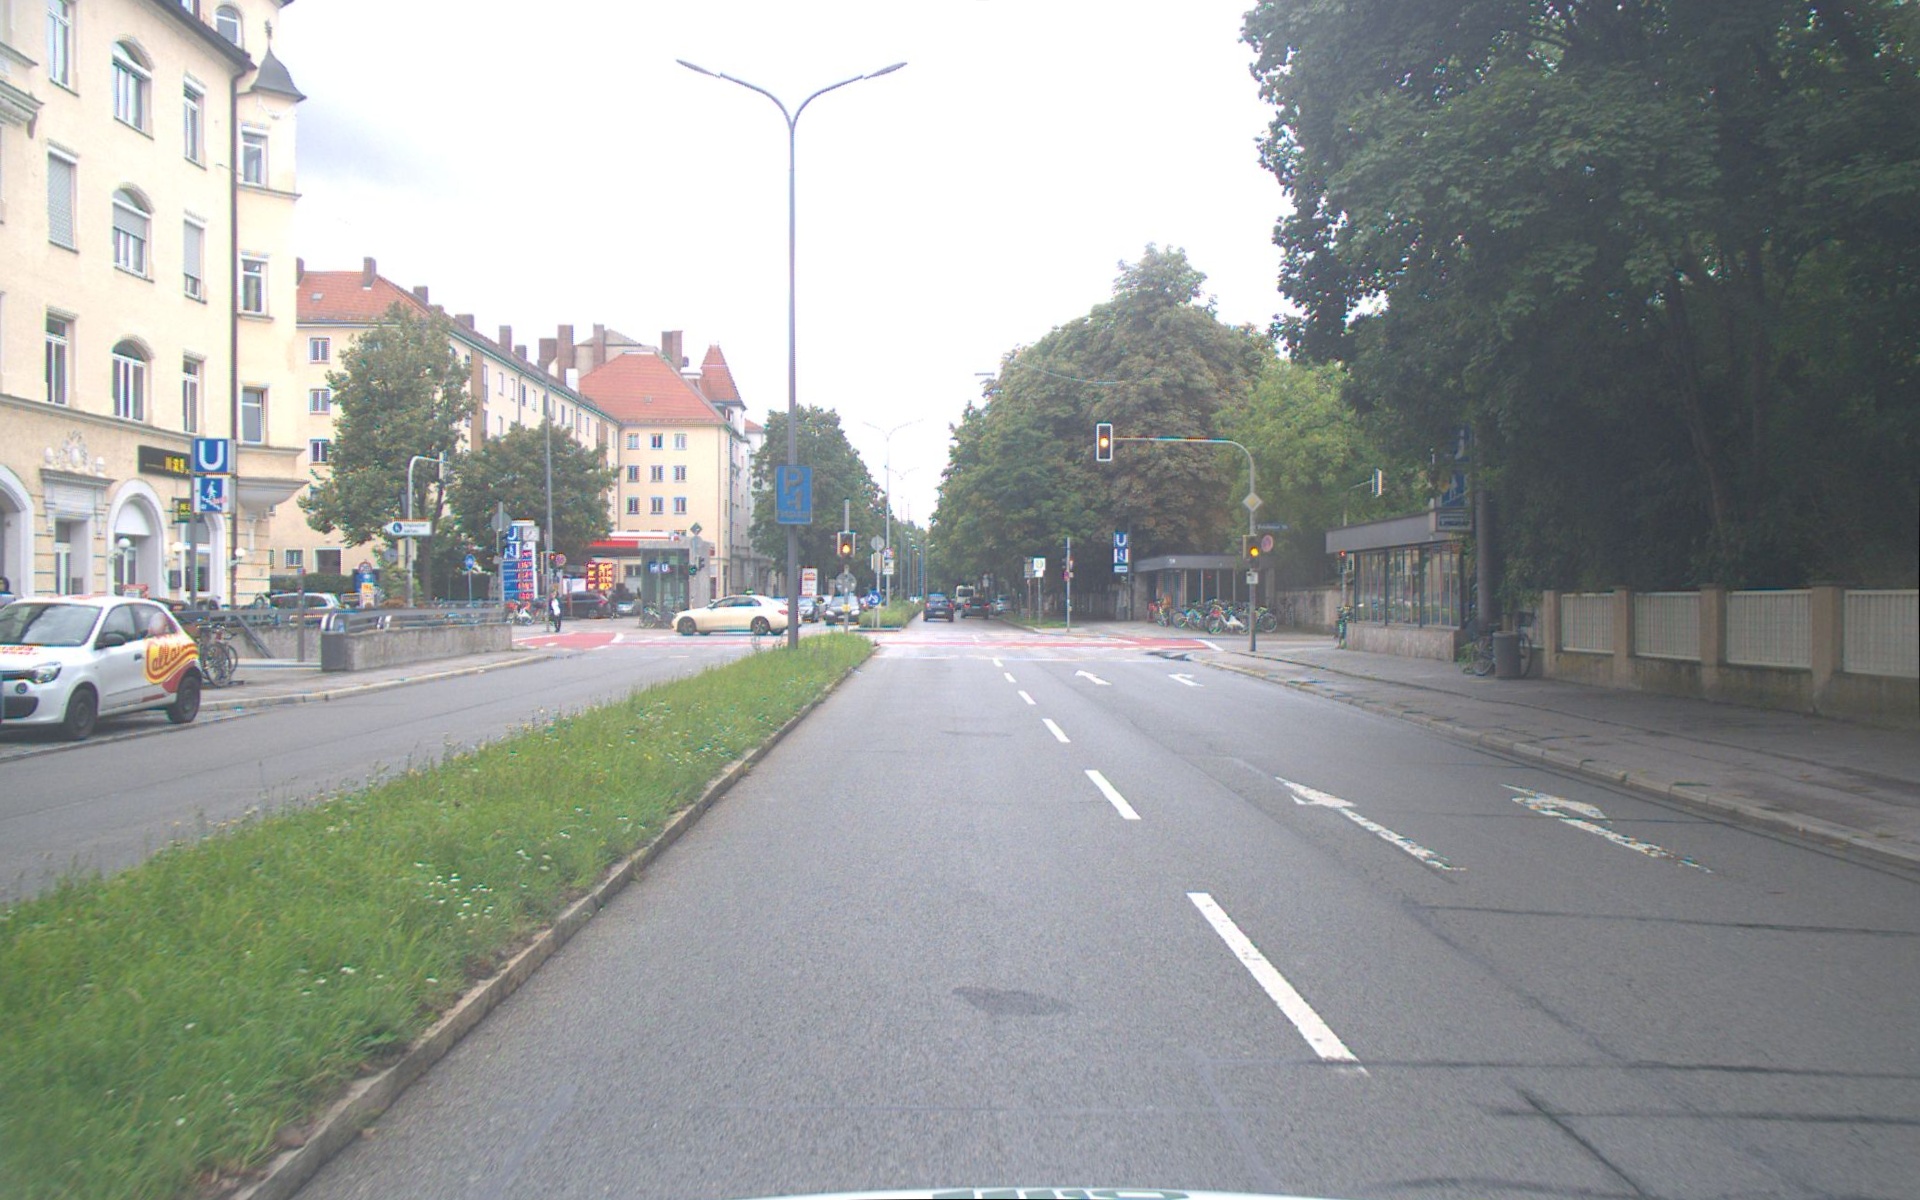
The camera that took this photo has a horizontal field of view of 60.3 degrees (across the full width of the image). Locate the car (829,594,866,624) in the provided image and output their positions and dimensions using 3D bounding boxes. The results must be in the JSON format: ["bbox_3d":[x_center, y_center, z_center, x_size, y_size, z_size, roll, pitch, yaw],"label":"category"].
[{"bbox_3d":[-5.872,0.440,86.411,1.724,1.519,3.999,0,0,-1],"label":"car"}]

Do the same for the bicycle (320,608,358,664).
[{"bbox_3d":[-13.104,0.748,34.925,0.388,1.135,1.810,0,0,-9],"label":"bicycle"}]

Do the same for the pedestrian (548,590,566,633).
[{"bbox_3d":[-16.224,0.450,66.527,0.522,1.725,0.577,0,0,8],"label":"pedestrian"}]

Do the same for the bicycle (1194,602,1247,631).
[{"bbox_3d":[10.486,0.660,66.566,2.097,1.120,0.603,0,0,7],"label":"bicycle"}]

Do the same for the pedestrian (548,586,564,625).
[{"bbox_3d":[-18.152,0.231,74.275,0.584,1.725,0.571,0,0,-31],"label":"pedestrian"}]

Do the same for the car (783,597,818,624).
[{"bbox_3d":[-9.275,0.601,96.181,1.724,1.486,3.999,0,0,-1],"label":"car"}]

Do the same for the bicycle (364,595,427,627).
[{"bbox_3d":[-23.342,0.447,68.422,2.351,1.273,0.790,2,-1,-12],"label":"bicycle"}]

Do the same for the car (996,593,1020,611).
[{"bbox_3d":[3.685,0.165,127.093,1.707,1.387,3.805,0,0,-1],"label":"car"}]

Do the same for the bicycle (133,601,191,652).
[{"bbox_3d":[-16.324,0.532,33.865,0.463,0.998,1.545,0,0,0],"label":"bicycle"}]

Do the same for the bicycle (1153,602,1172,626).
[{"bbox_3d":[9.003,0.617,73.546,0.545,1.032,2.014,0,0,-3],"label":"bicycle"}]

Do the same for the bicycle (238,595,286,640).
[{"bbox_3d":[-15.982,0.396,37.902,0.463,0.998,1.545,0,0,0],"label":"bicycle"}]

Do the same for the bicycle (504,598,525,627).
[{"bbox_3d":[-19.562,0.528,72.668,0.596,1.257,2.184,0,0,-7],"label":"bicycle"}]

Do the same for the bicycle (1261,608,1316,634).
[{"bbox_3d":[13.002,0.824,65.444,2.097,1.032,0.634,0,0,7],"label":"bicycle"}]

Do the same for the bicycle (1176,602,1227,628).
[{"bbox_3d":[10.123,0.642,69.444,2.097,1.080,0.603,0,0,7],"label":"bicycle"}]

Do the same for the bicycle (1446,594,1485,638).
[{"bbox_3d":[13.324,0.417,43.630,0.459,1.141,1.735,0,-1,0],"label":"bicycle"}]

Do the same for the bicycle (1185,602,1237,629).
[{"bbox_3d":[10.301,0.630,68.008,2.097,1.105,0.603,0,0,7],"label":"bicycle"}]

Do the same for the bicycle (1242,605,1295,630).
[{"bbox_3d":[12.782,0.729,68.585,2.097,1.032,0.634,0,0,7],"label":"bicycle"}]

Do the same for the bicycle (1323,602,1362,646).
[{"bbox_3d":[10.070,0.623,43.568,0.587,1.141,1.889,0,-1,0],"label":"bicycle"}]

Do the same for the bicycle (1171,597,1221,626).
[{"bbox_3d":[10.131,0.500,71.045,2.097,1.240,0.603,0,0,7],"label":"bicycle"}]

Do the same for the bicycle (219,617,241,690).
[{"bbox_3d":[-12.079,0.868,27.363,0.325,1.135,1.668,0,0,-24],"label":"bicycle"}]

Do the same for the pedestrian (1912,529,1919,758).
[{"bbox_3d":[8.653,0.368,13.938,0.762,1.976,0.802,-1,0,-1],"label":"pedestrian"}]

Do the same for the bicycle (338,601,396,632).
[{"bbox_3d":[-24.248,0.656,67.681,2.140,1.257,0.764,0,0,-10],"label":"bicycle"}]

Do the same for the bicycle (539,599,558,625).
[{"bbox_3d":[-19.320,0.548,77.646,0.596,1.165,1.963,0,0,-7],"label":"bicycle"}]

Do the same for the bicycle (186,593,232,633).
[{"bbox_3d":[-19.099,0.334,42.074,0.463,0.998,1.545,0,0,0],"label":"bicycle"}]

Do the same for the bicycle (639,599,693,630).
[{"bbox_3d":[-12.809,0.639,72.107,2.225,1.327,0.704,0,0,0],"label":"bicycle"}]

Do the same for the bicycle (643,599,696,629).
[{"bbox_3d":[-12.795,0.626,72.887,2.238,1.327,0.694,0,0,0],"label":"bicycle"}]

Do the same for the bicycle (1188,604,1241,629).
[{"bbox_3d":[10.350,0.666,67.279,2.097,1.032,0.603,0,0,7],"label":"bicycle"}]

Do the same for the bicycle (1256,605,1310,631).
[{"bbox_3d":[12.941,0.723,66.241,2.097,1.032,0.634,0,0,7],"label":"bicycle"}]

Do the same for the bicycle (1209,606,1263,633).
[{"bbox_3d":[10.858,0.759,65.111,2.097,1.032,0.634,0,0,7],"label":"bicycle"}]

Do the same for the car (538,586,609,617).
[{"bbox_3d":[-23.102,0.089,98.938,3.908,1.870,1.879,0,0,-4],"label":"car"}]

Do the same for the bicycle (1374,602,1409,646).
[{"bbox_3d":[11.359,0.636,43.610,0.459,1.141,1.735,0,-1,0],"label":"bicycle"}]

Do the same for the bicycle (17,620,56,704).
[{"bbox_3d":[-13.198,0.870,23.650,0.325,1.135,1.668,0,0,-24],"label":"bicycle"}]

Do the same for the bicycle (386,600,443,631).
[{"bbox_3d":[-22.349,0.641,67.797,2.142,1.257,0.763,0,0,-13],"label":"bicycle"}]

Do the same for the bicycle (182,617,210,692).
[{"bbox_3d":[-12.126,0.850,26.267,0.362,1.135,1.668,0,0,-24],"label":"bicycle"}]

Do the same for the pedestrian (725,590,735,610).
[{"bbox_3d":[-19.511,-0.026,140.273,0.682,1.666,0.738,0,0,-1],"label":"pedestrian"}]

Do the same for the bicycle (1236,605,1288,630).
[{"bbox_3d":[12.670,0.731,69.376,2.097,1.032,0.634,0,0,7],"label":"bicycle"}]

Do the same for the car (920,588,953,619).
[{"bbox_3d":[-1.324,0.174,94.168,1.819,1.713,3.999,0,0,-1],"label":"car"}]

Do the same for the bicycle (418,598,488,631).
[{"bbox_3d":[-21.107,0.601,68.896,2.677,1.273,0.785,2,-1,-32],"label":"bicycle"}]

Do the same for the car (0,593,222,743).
[{"bbox_3d":[-10.471,0.722,19.691,1.615,1.613,3.790,0,0,1],"label":"car"}]

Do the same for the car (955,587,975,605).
[{"bbox_3d":[0.511,-0.425,166.411,1.953,1.787,3.999,0,0,-1],"label":"car"}]

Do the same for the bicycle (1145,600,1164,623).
[{"bbox_3d":[8.955,0.517,76.276,0.545,1.032,2.014,0,0,-3],"label":"bicycle"}]

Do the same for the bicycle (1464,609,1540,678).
[{"bbox_3d":[9.286,0.728,28.410,0.609,1.109,2.025,0,0,-1],"label":"bicycle"}]

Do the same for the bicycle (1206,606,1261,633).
[{"bbox_3d":[10.671,0.771,64.484,2.097,1.032,0.603,0,0,7],"label":"bicycle"}]

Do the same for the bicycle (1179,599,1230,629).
[{"bbox_3d":[10.162,0.580,68.743,2.097,1.199,0.603,0,0,7],"label":"bicycle"}]

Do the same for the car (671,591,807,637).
[{"bbox_3d":[-8.126,0.499,60.875,4.664,1.675,1.786,0,0,15],"label":"car"}]

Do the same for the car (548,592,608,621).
[{"bbox_3d":[-26.903,0.430,116.598,3.909,2.049,1.889,0,0,-5],"label":"car"}]

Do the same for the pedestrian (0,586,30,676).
[{"bbox_3d":[-17.826,0.569,30.963,0.413,1.660,0.782,0,0,-4],"label":"pedestrian"}]

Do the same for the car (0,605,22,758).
[{"bbox_3d":[-10.546,0.829,14.906,1.774,1.533,4.290,0,0,-1],"label":"car"}]

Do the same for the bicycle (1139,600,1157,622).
[{"bbox_3d":[9.062,0.532,79.585,0.545,1.032,2.014,0,0,-3],"label":"bicycle"}]

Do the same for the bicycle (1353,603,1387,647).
[{"bbox_3d":[10.791,0.650,43.596,0.459,1.141,1.735,0,-1,0],"label":"bicycle"}]

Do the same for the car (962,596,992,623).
[{"bbox_3d":[1.123,0.622,110.909,1.883,1.713,3.999,2,0,-1],"label":"car"}]

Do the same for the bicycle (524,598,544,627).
[{"bbox_3d":[-18.927,0.527,73.505,0.596,1.257,2.184,0,0,-7],"label":"bicycle"}]

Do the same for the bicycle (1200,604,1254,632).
[{"bbox_3d":[10.630,0.710,65.913,2.097,1.089,0.603,0,0,7],"label":"bicycle"}]

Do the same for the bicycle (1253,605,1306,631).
[{"bbox_3d":[12.936,0.728,67.008,2.097,1.032,0.634,0,0,7],"label":"bicycle"}]
